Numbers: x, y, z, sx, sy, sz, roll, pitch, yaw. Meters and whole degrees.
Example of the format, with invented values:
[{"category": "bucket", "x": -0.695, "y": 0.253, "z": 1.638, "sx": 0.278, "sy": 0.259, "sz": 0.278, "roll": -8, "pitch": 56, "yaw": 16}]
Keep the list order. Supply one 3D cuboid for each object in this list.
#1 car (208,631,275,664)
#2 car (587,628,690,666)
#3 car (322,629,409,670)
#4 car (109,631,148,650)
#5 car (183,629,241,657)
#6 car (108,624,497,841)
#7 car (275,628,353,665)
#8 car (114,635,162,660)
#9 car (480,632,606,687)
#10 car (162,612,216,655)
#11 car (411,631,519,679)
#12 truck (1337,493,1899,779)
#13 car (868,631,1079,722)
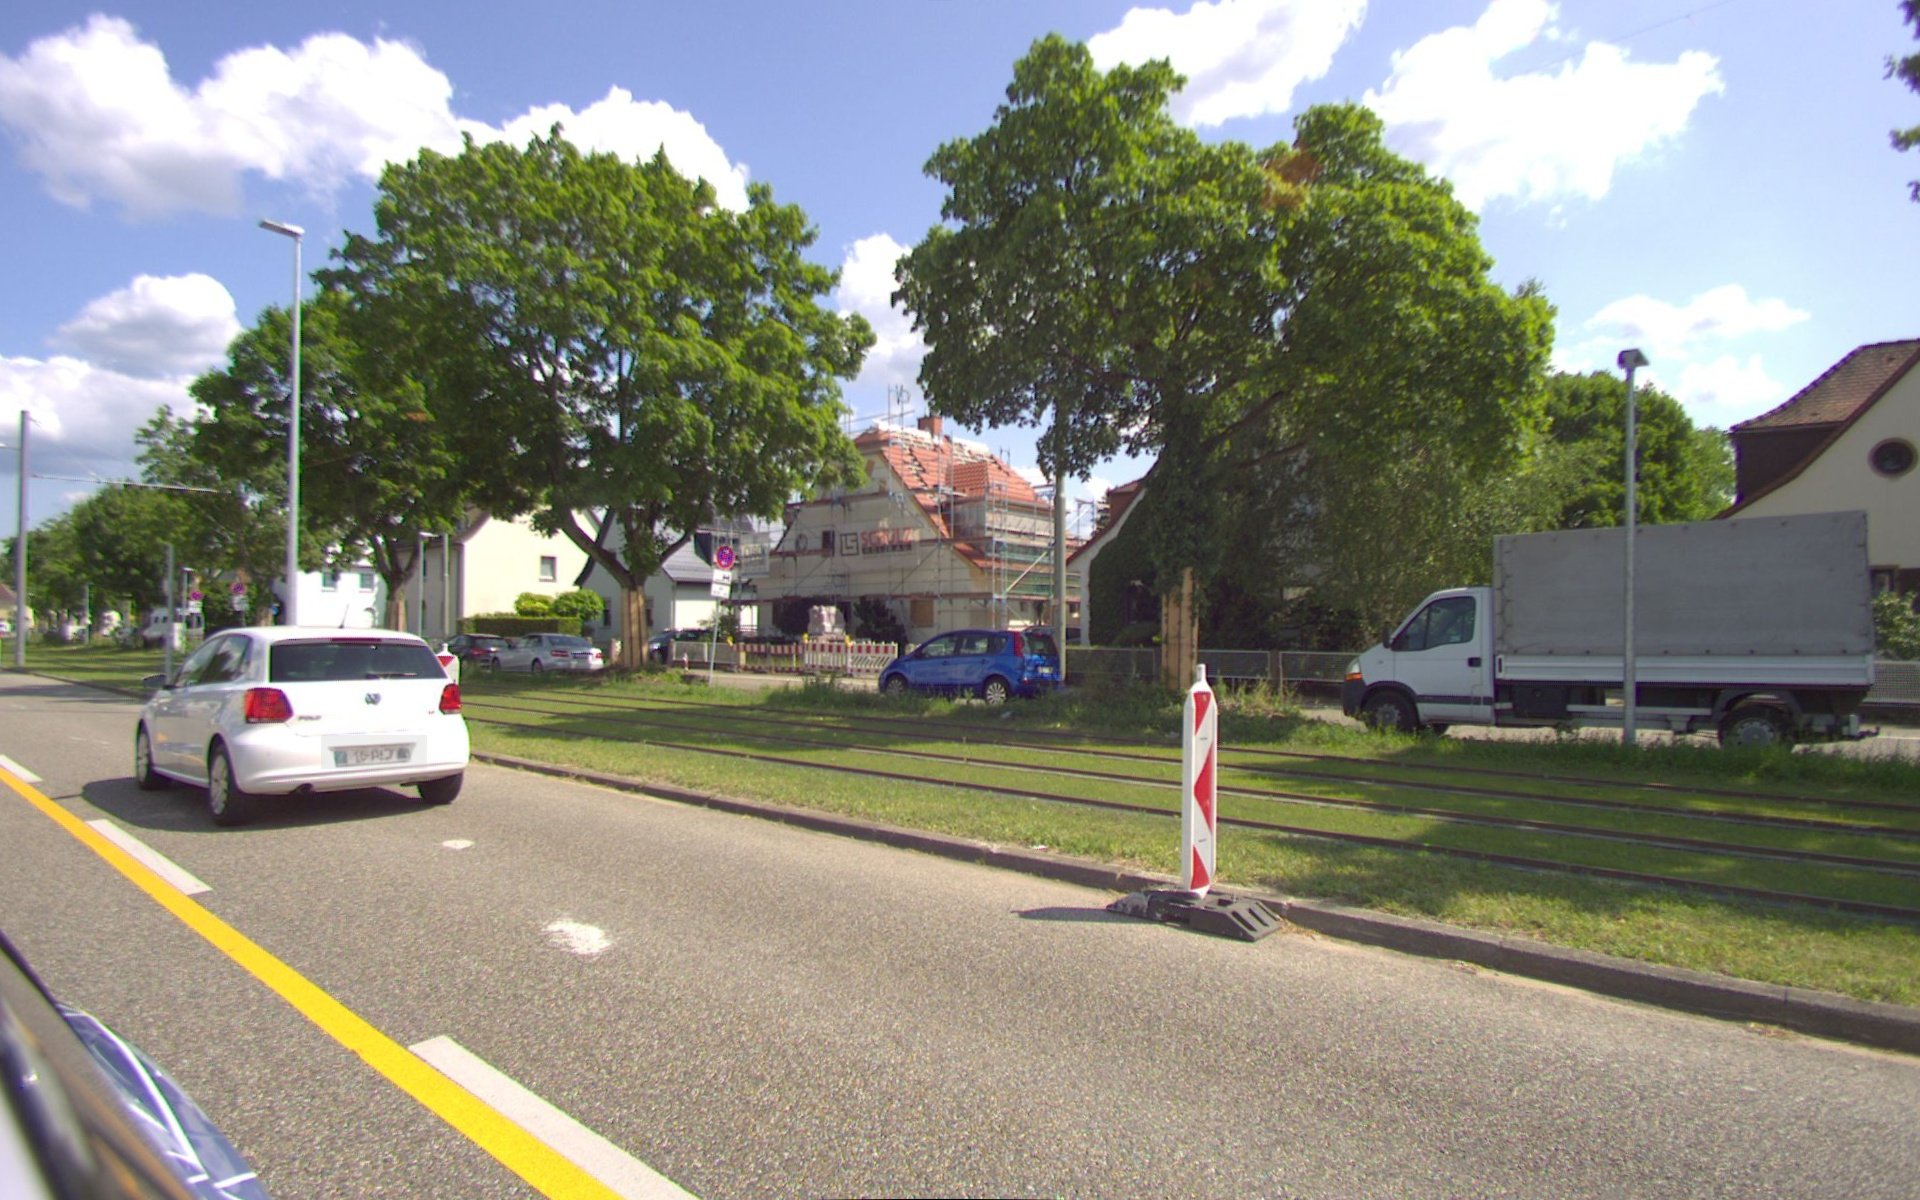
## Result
[{"category": "car", "x": -37.646, "y": 2.466, "z": 52.975, "sx": 4.603, "sy": 1.623, "sz": 1.733, "roll": -2, "pitch": -3, "yaw": 40}, {"category": "car", "x": -14.083, "y": 2.045, "z": 44.505, "sx": 1.756, "sy": 1.623, "sz": 3.995, "roll": -2, "pitch": -3, "yaw": 41}, {"category": "car", "x": -25.184, "y": 2.072, "z": 42.823, "sx": 4.603, "sy": 1.623, "sz": 1.733, "roll": -2, "pitch": -3, "yaw": 40}, {"category": "car", "x": -70.206, "y": 3.406, "z": 85.390, "sx": 4.603, "sy": 1.623, "sz": 1.733, "roll": -2, "pitch": -3, "yaw": 40}, {"category": "car", "x": -44.648, "y": 2.550, "z": 60.399, "sx": 4.603, "sy": 1.623, "sz": 1.733, "roll": -2, "pitch": -3, "yaw": 40}, {"category": "car", "x": -5.804, "y": 0.940, "z": 8.718, "sx": 4.260, "sy": 1.424, "sz": 1.697, "roll": -2, "pitch": -3, "yaw": 41}, {"category": "car", "x": -29.604, "y": 2.096, "z": 46.327, "sx": 4.603, "sy": 1.623, "sz": 1.733, "roll": -2, "pitch": -3, "yaw": 40}, {"category": "car", "x": -57.026, "y": 3.265, "z": 70.144, "sx": 4.603, "sy": 1.623, "sz": 1.733, "roll": -2, "pitch": -3, "yaw": 40}, {"category": "car", "x": -13.173, "y": 1.829, "z": 31.858, "sx": 4.603, "sy": 1.623, "sz": 1.733, "roll": -2, "pitch": -3, "yaw": 40}, {"category": "car", "x": -48.850, "y": 2.104, "z": 64.104, "sx": 4.603, "sy": 2.636, "sz": 1.733, "roll": -2, "pitch": -3, "yaw": 40}, {"category": "car", "x": -17.615, "y": 1.913, "z": 35.928, "sx": 4.603, "sy": 1.623, "sz": 1.733, "roll": -2, "pitch": -3, "yaw": 40}, {"category": "truck", "x": 8.276, "y": 0.464, "z": 13.354, "sx": 5.871, "sy": 3.010, "sz": 1.982, "roll": -2, "pitch": -3, "yaw": 41}, {"category": "car", "x": 0.206, "y": 1.442, "z": 20.175, "sx": 4.047, "sy": 1.623, "sz": 1.733, "roll": -2, "pitch": -3, "yaw": 40}]
